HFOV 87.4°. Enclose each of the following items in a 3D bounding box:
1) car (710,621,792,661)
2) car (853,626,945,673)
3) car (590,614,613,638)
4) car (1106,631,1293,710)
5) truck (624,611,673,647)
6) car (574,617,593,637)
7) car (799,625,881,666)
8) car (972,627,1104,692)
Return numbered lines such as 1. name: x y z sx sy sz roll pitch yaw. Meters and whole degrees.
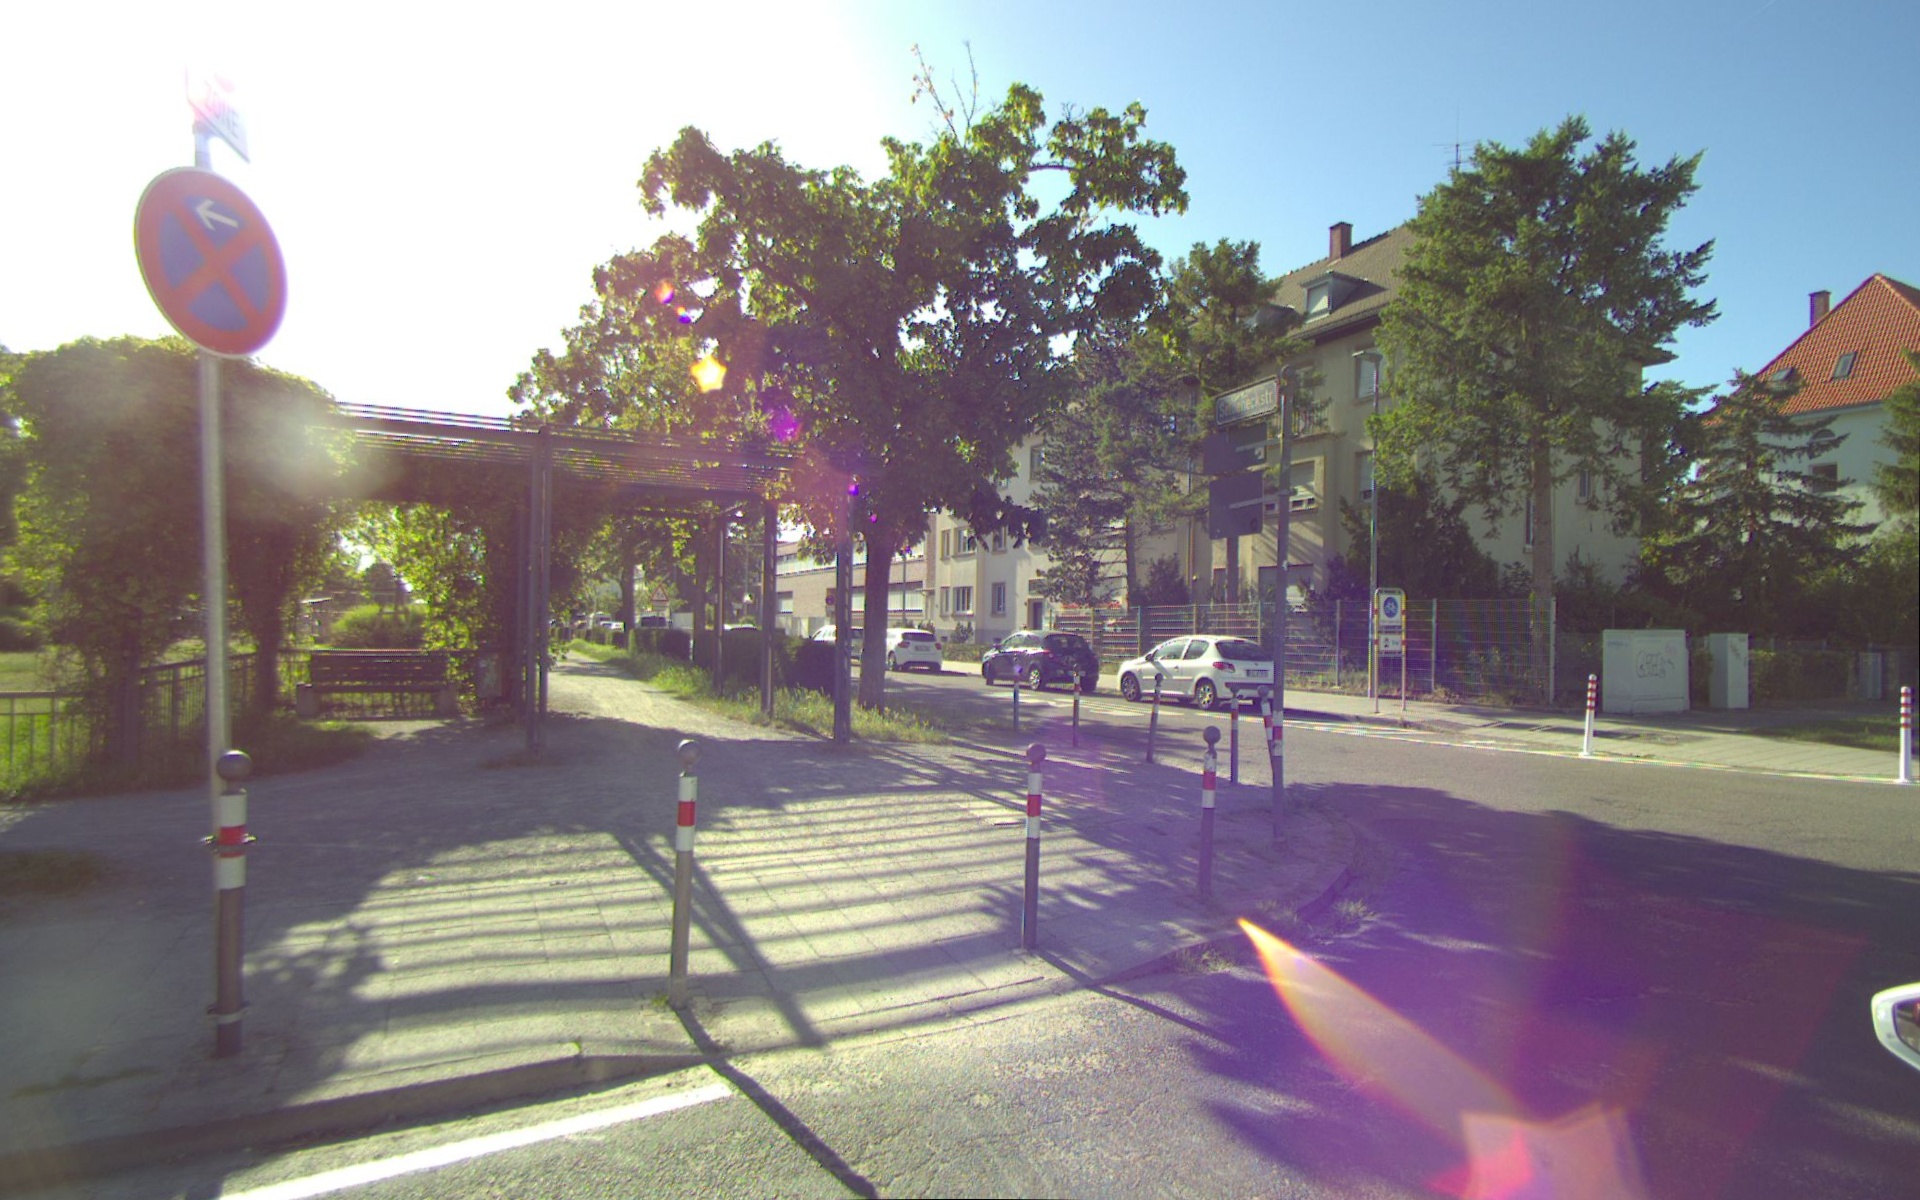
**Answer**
1. car: -8.594 1.634 41.024 1.976 1.545 4.720 1 -2 -29
2. car: -2.171 1.680 34.961 1.778 1.514 3.974 3 -2 -26
3. car: -39.114 2.831 109.552 1.799 2.551 3.974 1 -2 -26
4. car: 4.765 1.381 20.454 1.685 1.416 3.751 3 -2 -27
5. truck: -18.526 1.722 59.622 1.974 2.063 4.841 1 -2 -27
6. car: -46.499 3.326 124.103 1.799 2.384 3.974 1 -2 -26
7. car: -4.862 1.804 40.302 1.781 1.514 3.967 3 -2 -31
8. car: 1.907 1.477 25.715 1.655 1.514 3.801 3 -2 -26
